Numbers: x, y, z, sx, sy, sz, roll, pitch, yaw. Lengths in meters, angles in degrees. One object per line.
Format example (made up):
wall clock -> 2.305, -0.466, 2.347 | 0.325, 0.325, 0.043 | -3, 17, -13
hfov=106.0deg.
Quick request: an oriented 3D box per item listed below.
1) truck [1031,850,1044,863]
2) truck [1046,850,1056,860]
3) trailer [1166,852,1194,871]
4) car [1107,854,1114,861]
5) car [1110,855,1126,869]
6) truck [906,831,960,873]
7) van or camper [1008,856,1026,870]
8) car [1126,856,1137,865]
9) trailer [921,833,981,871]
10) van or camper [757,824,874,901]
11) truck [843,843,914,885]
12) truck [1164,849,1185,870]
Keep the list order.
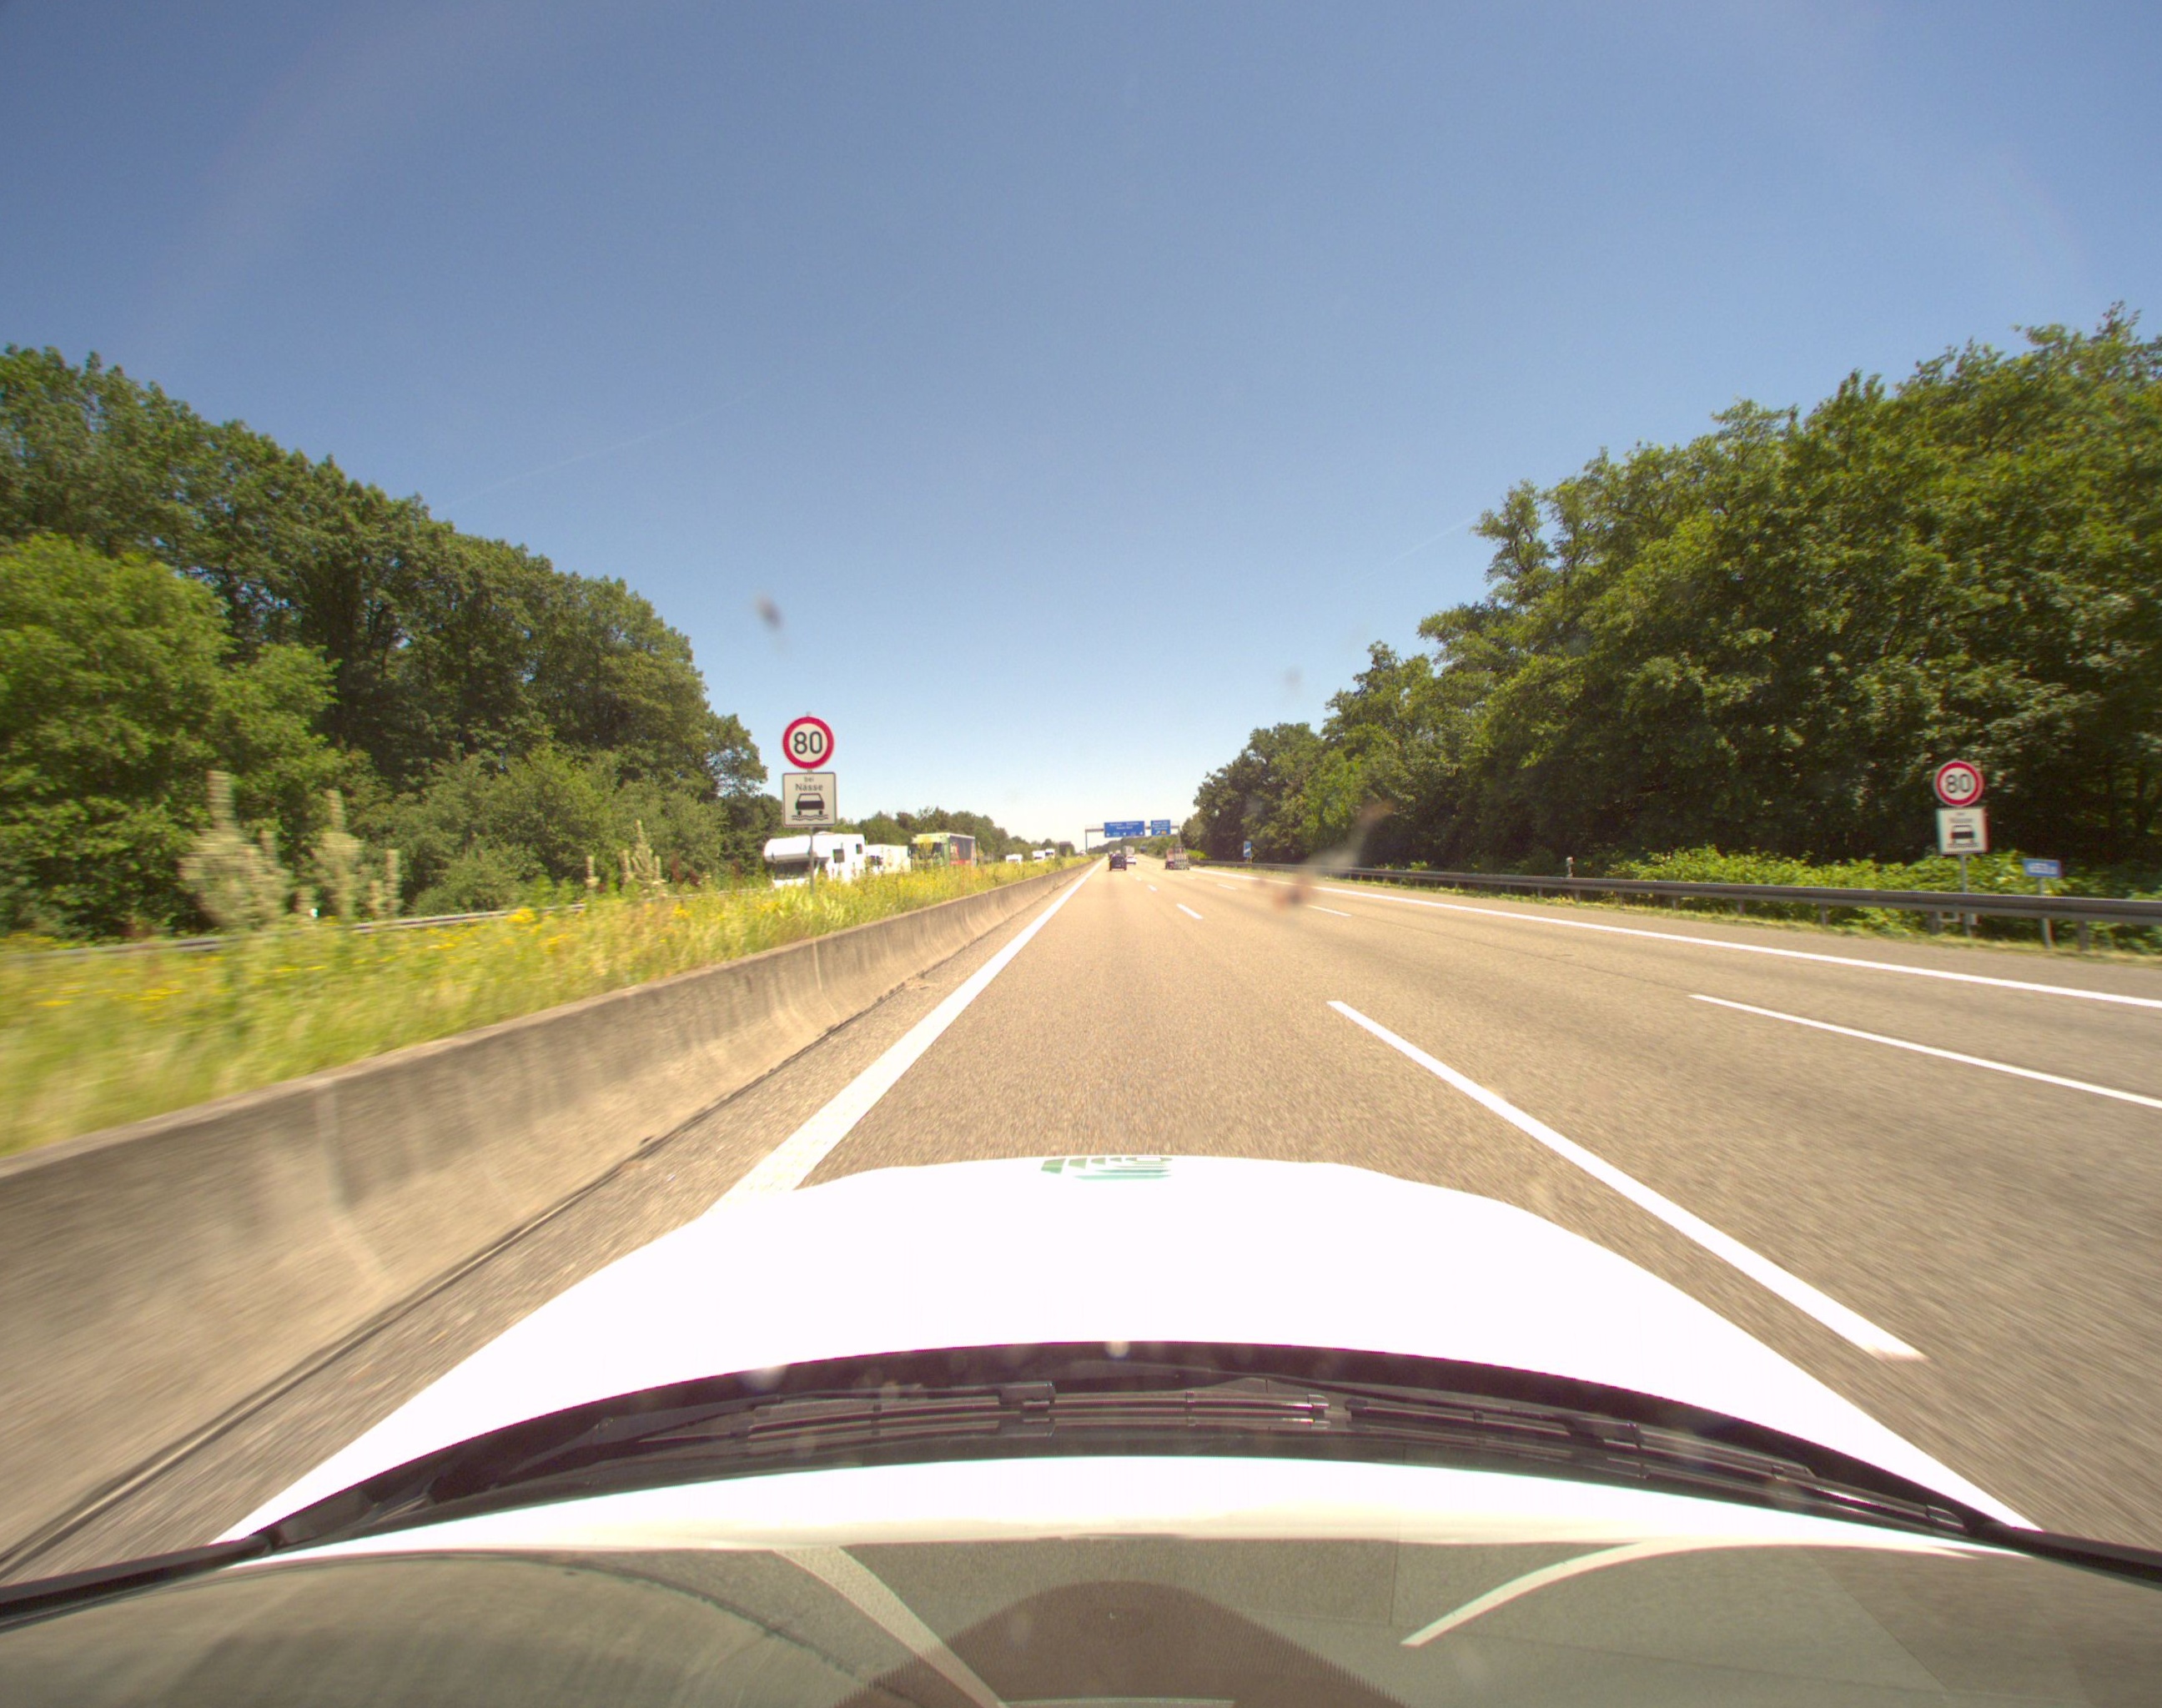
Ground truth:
truck -> -8.427, 0.519, 158.359 | 2.303, 2.326, 6.078 | -1, -1, 0
truck -> -8.960, 0.277, 243.525 | 2.632, 3.084, 5.851 | -1, 0, 2
trailer -> 10.990, 0.775, 91.112 | 2.412, 2.013, 6.034 | -1, 0, 1
car -> 8.914, 1.082, 248.454 | 1.986, 2.014, 4.001 | -3, -1, 1
car -> 4.157, 0.926, 92.235 | 1.654, 1.549, 3.783 | -1, 0, 0
truck -> -11.371, -0.167, 63.193 | 2.597, 3.008, 6.974 | -2, 0, 1
van or camper -> -9.745, 1.336, 124.294 | 2.214, 2.014, 5.887 | -1, -1, 1
car -> 8.809, 1.114, 141.914 | 1.733, 1.486, 4.001 | -1, 0, 1
trailer -> -11.166, -0.134, 71.768 | 2.633, 2.969, 14.235 | -2, 0, 1
van or camper -> -11.834, 0.349, 37.077 | 2.497, 3.155, 7.539 | -1, 0, 3
truck -> -15.783, 0.762, 64.388 | 2.677, 2.942, 10.490 | -2, 0, 2
truck -> 11.027, 0.587, 96.467 | 1.987, 2.373, 4.645 | -1, 0, 1
